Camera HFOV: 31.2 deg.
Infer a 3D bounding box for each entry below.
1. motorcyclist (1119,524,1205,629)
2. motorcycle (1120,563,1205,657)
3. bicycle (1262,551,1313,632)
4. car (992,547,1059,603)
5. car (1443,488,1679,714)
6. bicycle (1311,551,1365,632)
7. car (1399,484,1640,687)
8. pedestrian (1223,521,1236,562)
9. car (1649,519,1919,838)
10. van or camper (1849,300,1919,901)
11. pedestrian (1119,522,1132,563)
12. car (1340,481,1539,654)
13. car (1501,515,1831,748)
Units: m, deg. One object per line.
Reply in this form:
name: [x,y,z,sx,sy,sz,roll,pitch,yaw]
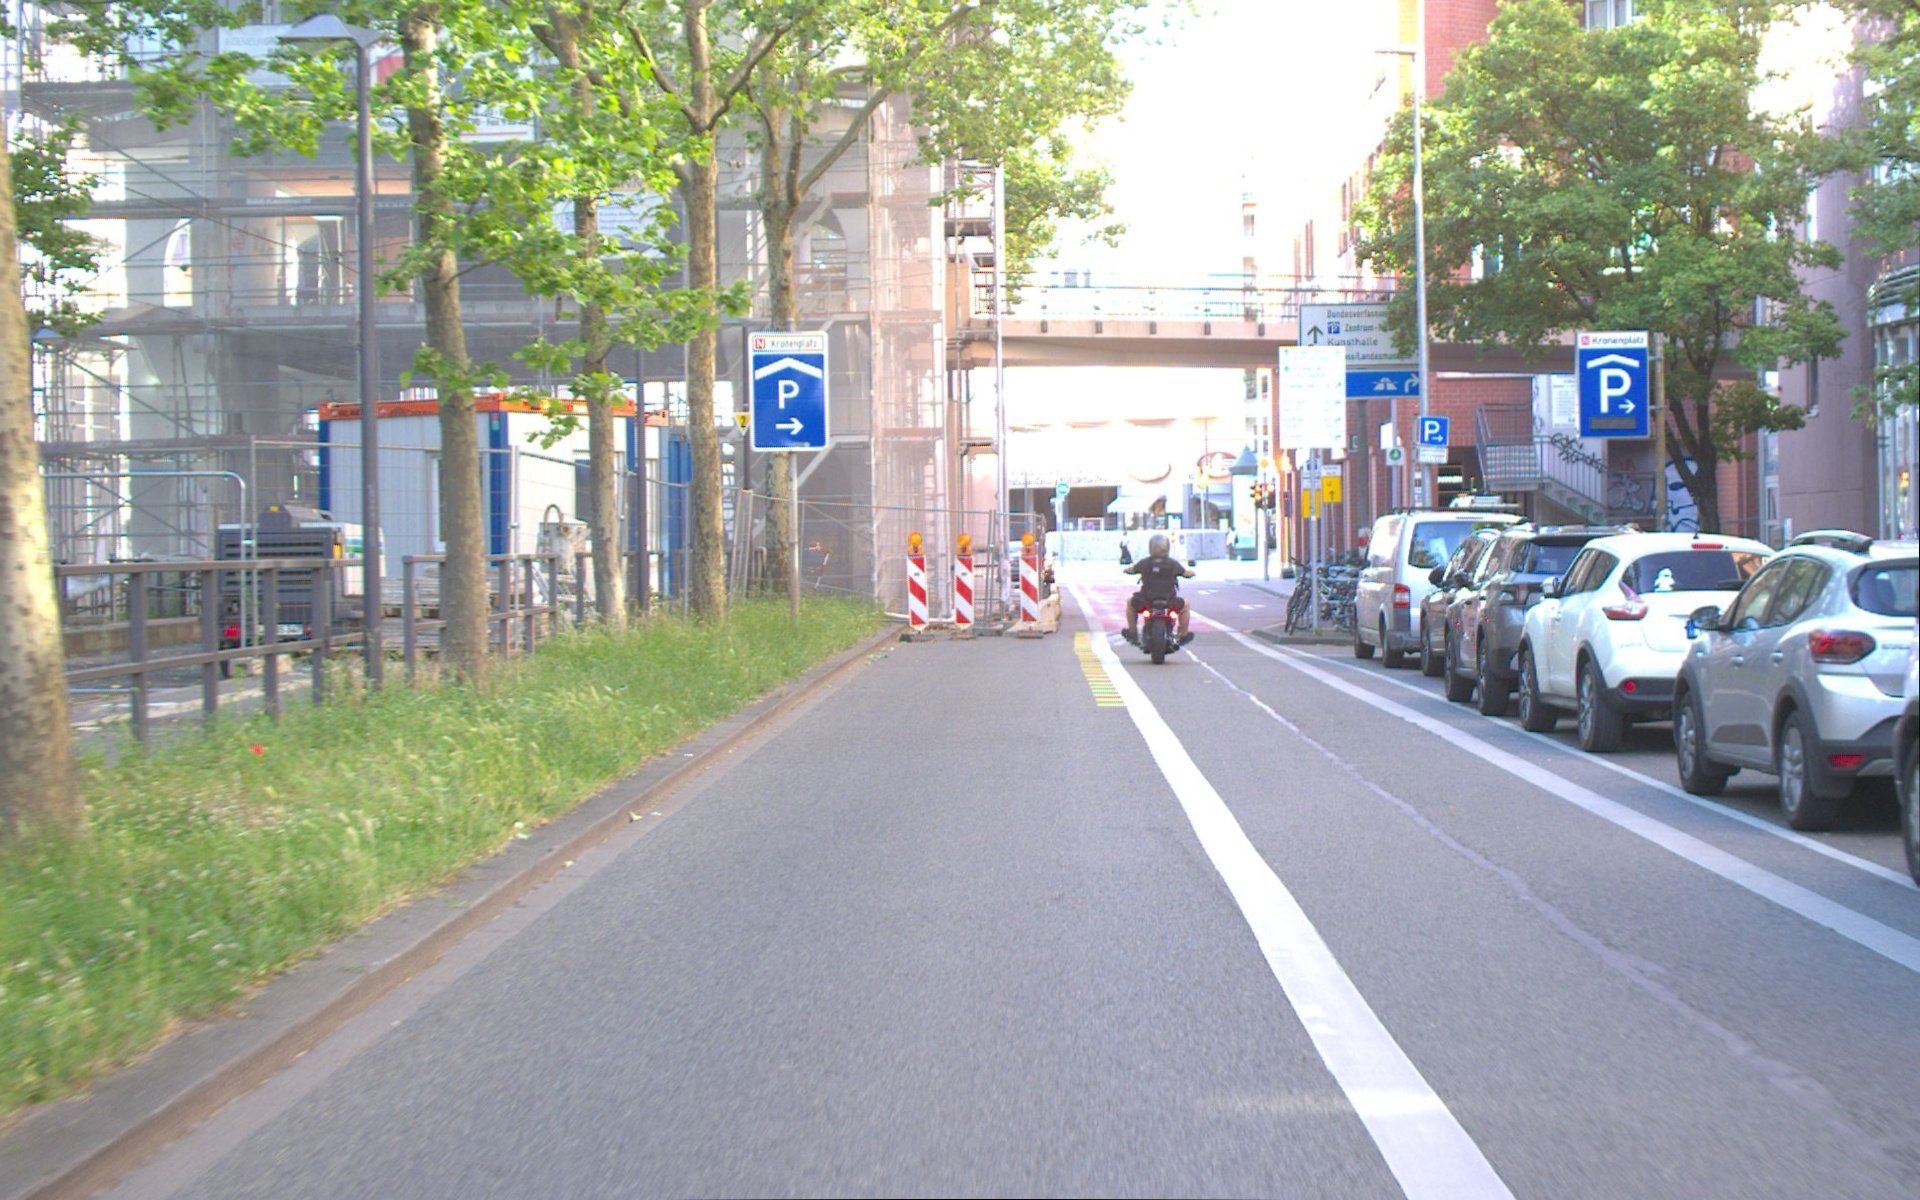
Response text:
motorcyclist: [2.489,-0.294,42.467,1.012,1.258,0.774,2,1,2]
motorcycle: [2.485,0.109,42.377,1.018,1.093,2.007,0,1,3]
bicycle: [5.152,-0.145,54.150,0.664,1.230,2.228,-1,1,2]
car: [2.053,-0.814,109.155,1.851,1.711,4.001,-1,1,-3]
car: [5.258,-0.032,30.452,1.620,1.859,3.774,-1,1,3]
bicycle: [5.937,-0.142,54.096,0.664,1.230,2.228,-1,1,2]
car: [5.872,-0.196,36.560,1.835,2.007,4.388,-1,1,0]
pedestrian: [12.469,-2.701,159.000,0.541,1.875,0.529,0,1,13]
car: [5.089,0.352,19.262,1.620,1.598,3.775,-1,1,-1]
van or camper: [5.043,0.032,12.734,2.049,2.532,5.773,-1,1,1]
pedestrian: [7.706,-2.682,160.092,0.541,1.875,0.529,0,1,13]
car: [5.865,-0.428,42.532,1.835,2.007,4.388,-1,1,0]
car: [5.214,0.179,25.833,1.620,1.604,3.775,-1,1,-1]
